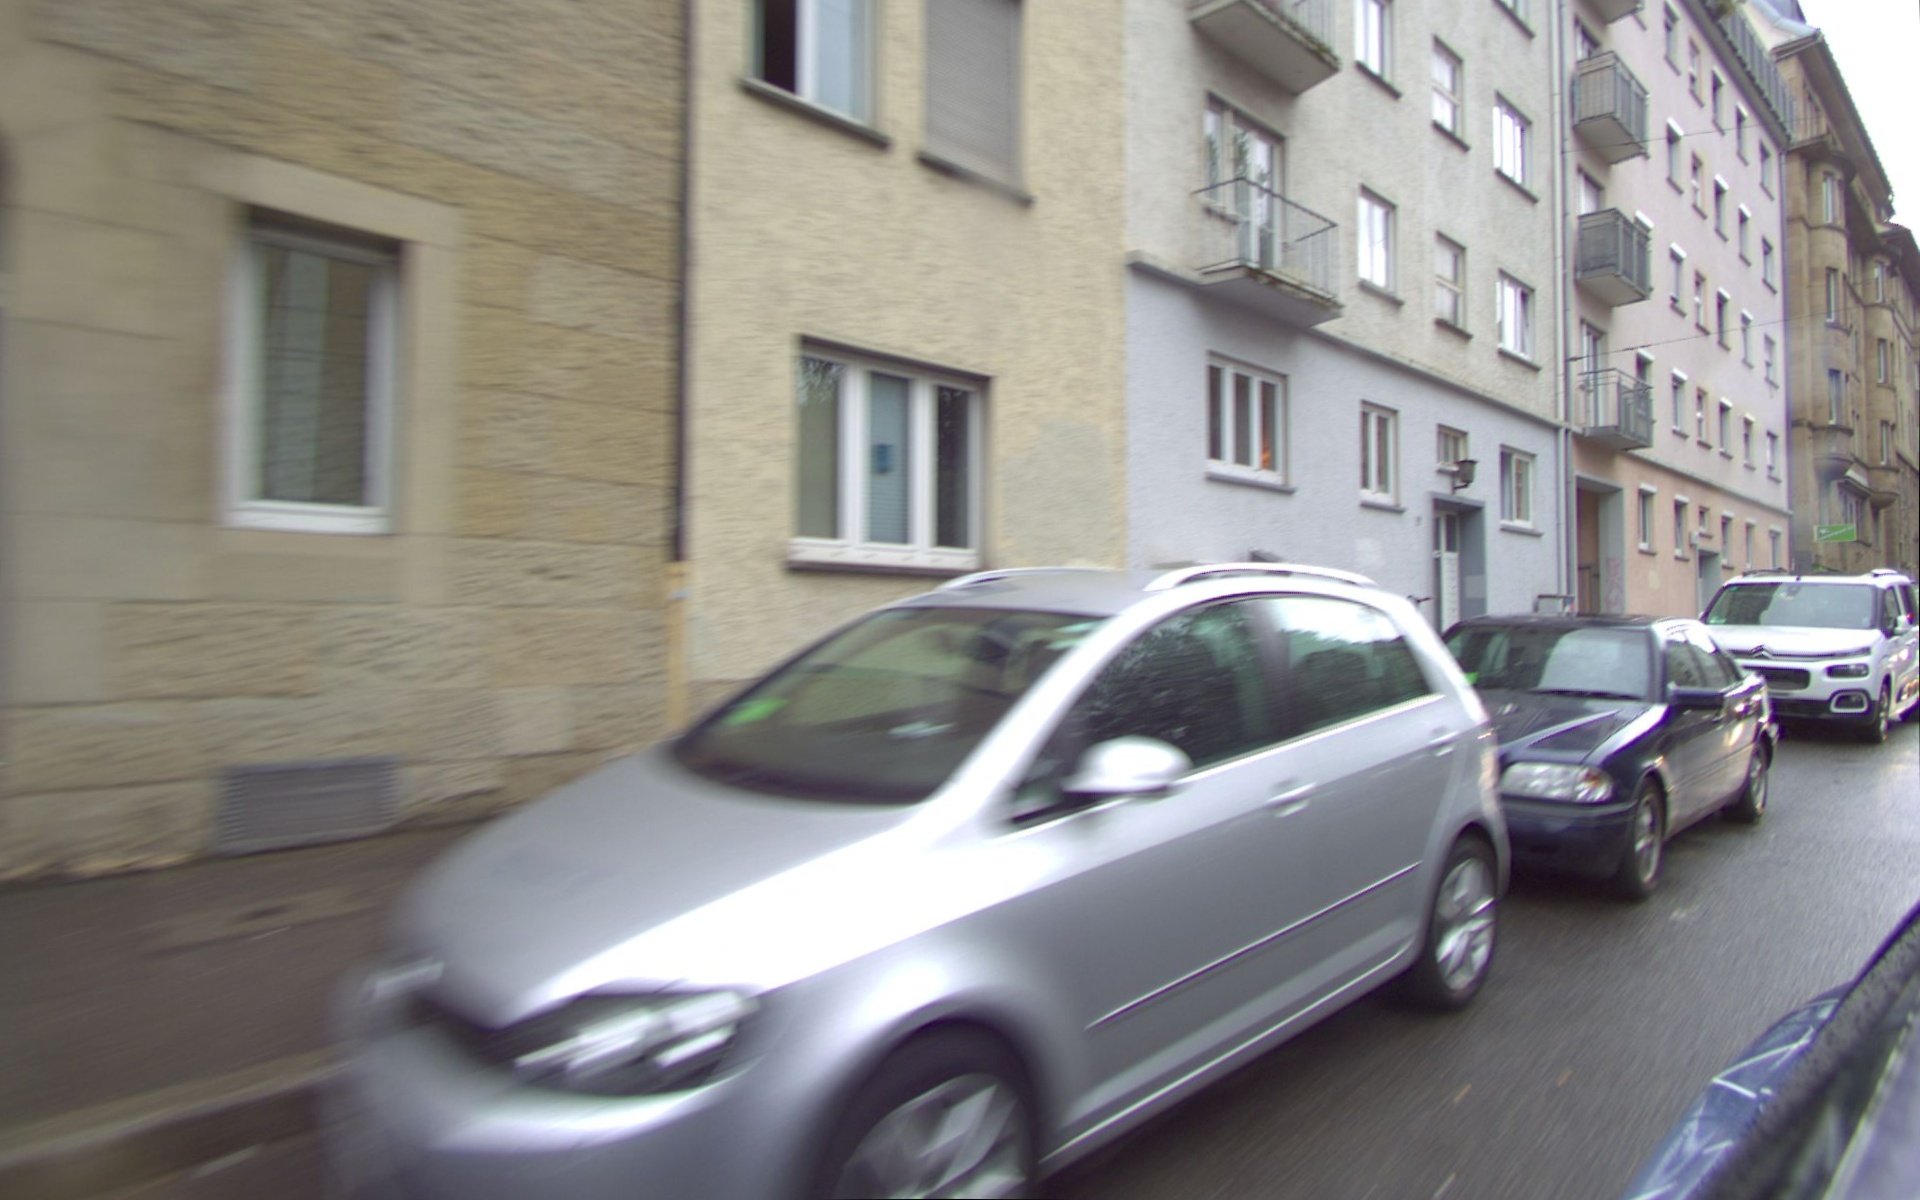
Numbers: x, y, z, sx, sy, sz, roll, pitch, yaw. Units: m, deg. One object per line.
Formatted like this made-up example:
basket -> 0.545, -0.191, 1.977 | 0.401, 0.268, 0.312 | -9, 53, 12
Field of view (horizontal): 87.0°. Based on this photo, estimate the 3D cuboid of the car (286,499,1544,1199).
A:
car -> 0.239, 0.621, 3.324 | 3.930, 1.549, 1.696 | -1, 0, -41

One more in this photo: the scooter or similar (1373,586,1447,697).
scooter or similar -> 5.571, 0.490, 12.512 | 1.150, 1.313, 0.388 | 0, 0, -40

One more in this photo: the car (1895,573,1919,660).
car -> 21.677, 0.335, 21.852 | 4.139, 1.787, 1.794 | 0, 1, -42

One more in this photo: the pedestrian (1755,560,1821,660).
pedestrian -> 15.998, 0.180, 19.548 | 1.020, 1.856, 0.748 | 0, 2, -39

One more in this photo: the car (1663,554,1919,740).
car -> 9.957, 0.438, 11.746 | 4.387, 1.772, 1.832 | 0, 0, -39

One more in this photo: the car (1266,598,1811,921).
car -> 3.936, 0.702, 6.512 | 4.384, 1.364, 1.720 | -1, -1, -42

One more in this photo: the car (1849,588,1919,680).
car -> 17.230, 0.538, 17.785 | 4.819, 1.474, 1.874 | 0, 0, -42
